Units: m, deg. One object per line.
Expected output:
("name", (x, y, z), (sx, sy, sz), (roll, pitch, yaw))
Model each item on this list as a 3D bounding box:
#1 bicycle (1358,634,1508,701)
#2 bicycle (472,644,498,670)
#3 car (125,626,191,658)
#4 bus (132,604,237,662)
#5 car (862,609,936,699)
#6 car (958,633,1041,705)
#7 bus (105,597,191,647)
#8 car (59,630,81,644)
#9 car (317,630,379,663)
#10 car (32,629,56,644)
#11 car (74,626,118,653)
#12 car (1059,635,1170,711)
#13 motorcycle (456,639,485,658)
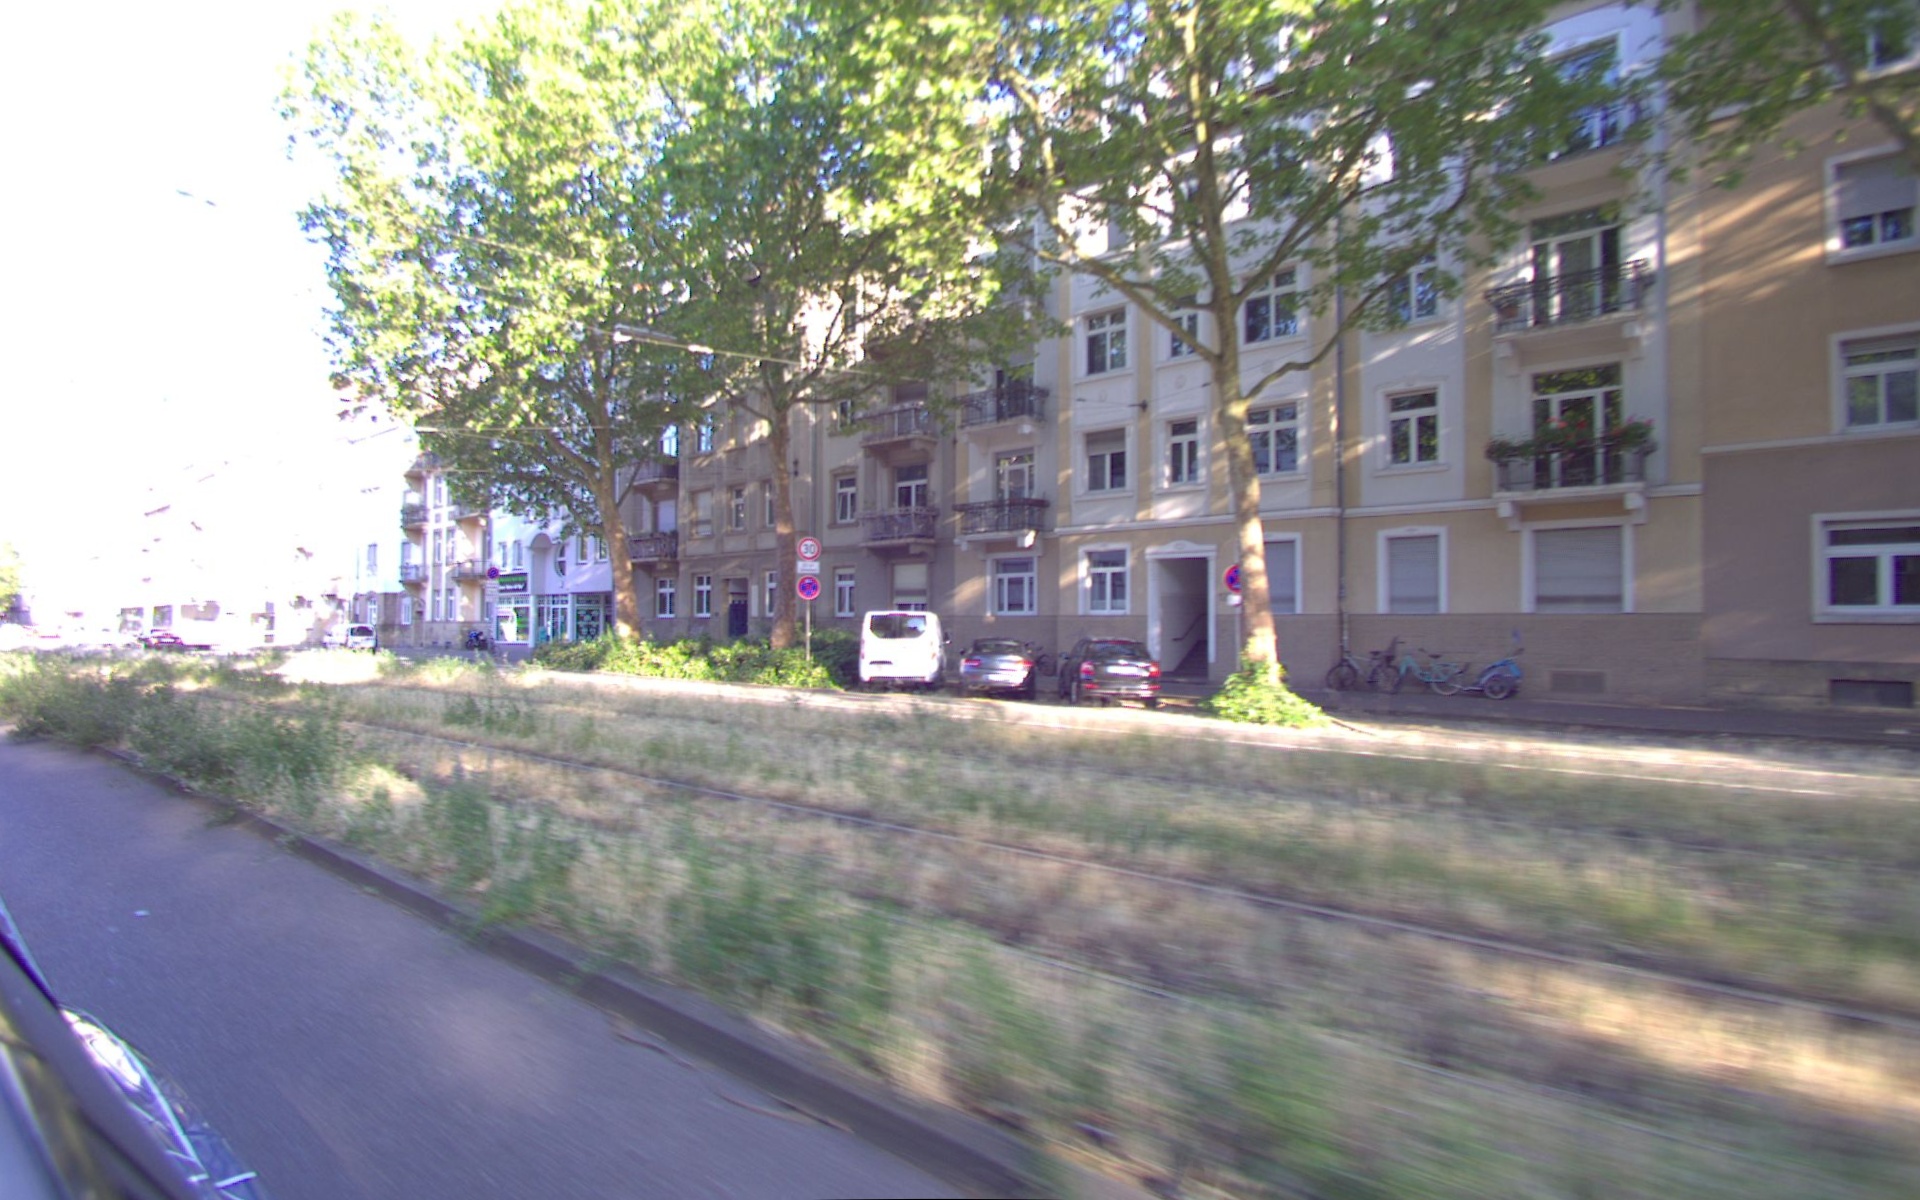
("bicycle", (10.573, 1.474, 22.732), (2.960, 1.401, 0.734), (-1, -2, 42))
("bicycle", (-22.350, 2.665, 47.593), (0.747, 1.040, 1.899), (-6, 3, -35))
("car", (-40.387, 2.103, 50.930), (4.697, 1.497, 1.698), (-1, -4, 41))
("bus", (-50.219, 2.000, 65.336), (11.974, 3.399, 3.220), (0, -1, 42))
("car", (-1.476, 1.308, 25.978), (1.697, 2.082, 5.247), (0, -1, -1))
("car", (0.849, 1.549, 23.918), (1.697, 1.502, 4.177), (0, -1, -1))
("bus", (-58.447, 1.529, 72.722), (9.896, 3.399, 3.231), (0, -1, 42))
("car", (-98.229, 4.037, 111.717), (1.710, 1.491, 3.820), (2, -2, -40))
("car", (-35.901, 2.688, 59.319), (4.653, 1.800, 1.883), (0, -1, 43))
("car", (-120.049, 4.801, 132.623), (4.309, 1.914, 1.894), (0, -1, 43))
("car", (-58.900, 2.678, 69.000), (4.002, 1.697, 1.908), (0, -1, 44))
("car", (3.193, 1.486, 21.553), (1.697, 1.433, 3.729), (0, -1, -1))
("motorcycle", (-27.400, 2.696, 56.672), (2.418, 1.029, 0.522), (-1, 1, 41))
